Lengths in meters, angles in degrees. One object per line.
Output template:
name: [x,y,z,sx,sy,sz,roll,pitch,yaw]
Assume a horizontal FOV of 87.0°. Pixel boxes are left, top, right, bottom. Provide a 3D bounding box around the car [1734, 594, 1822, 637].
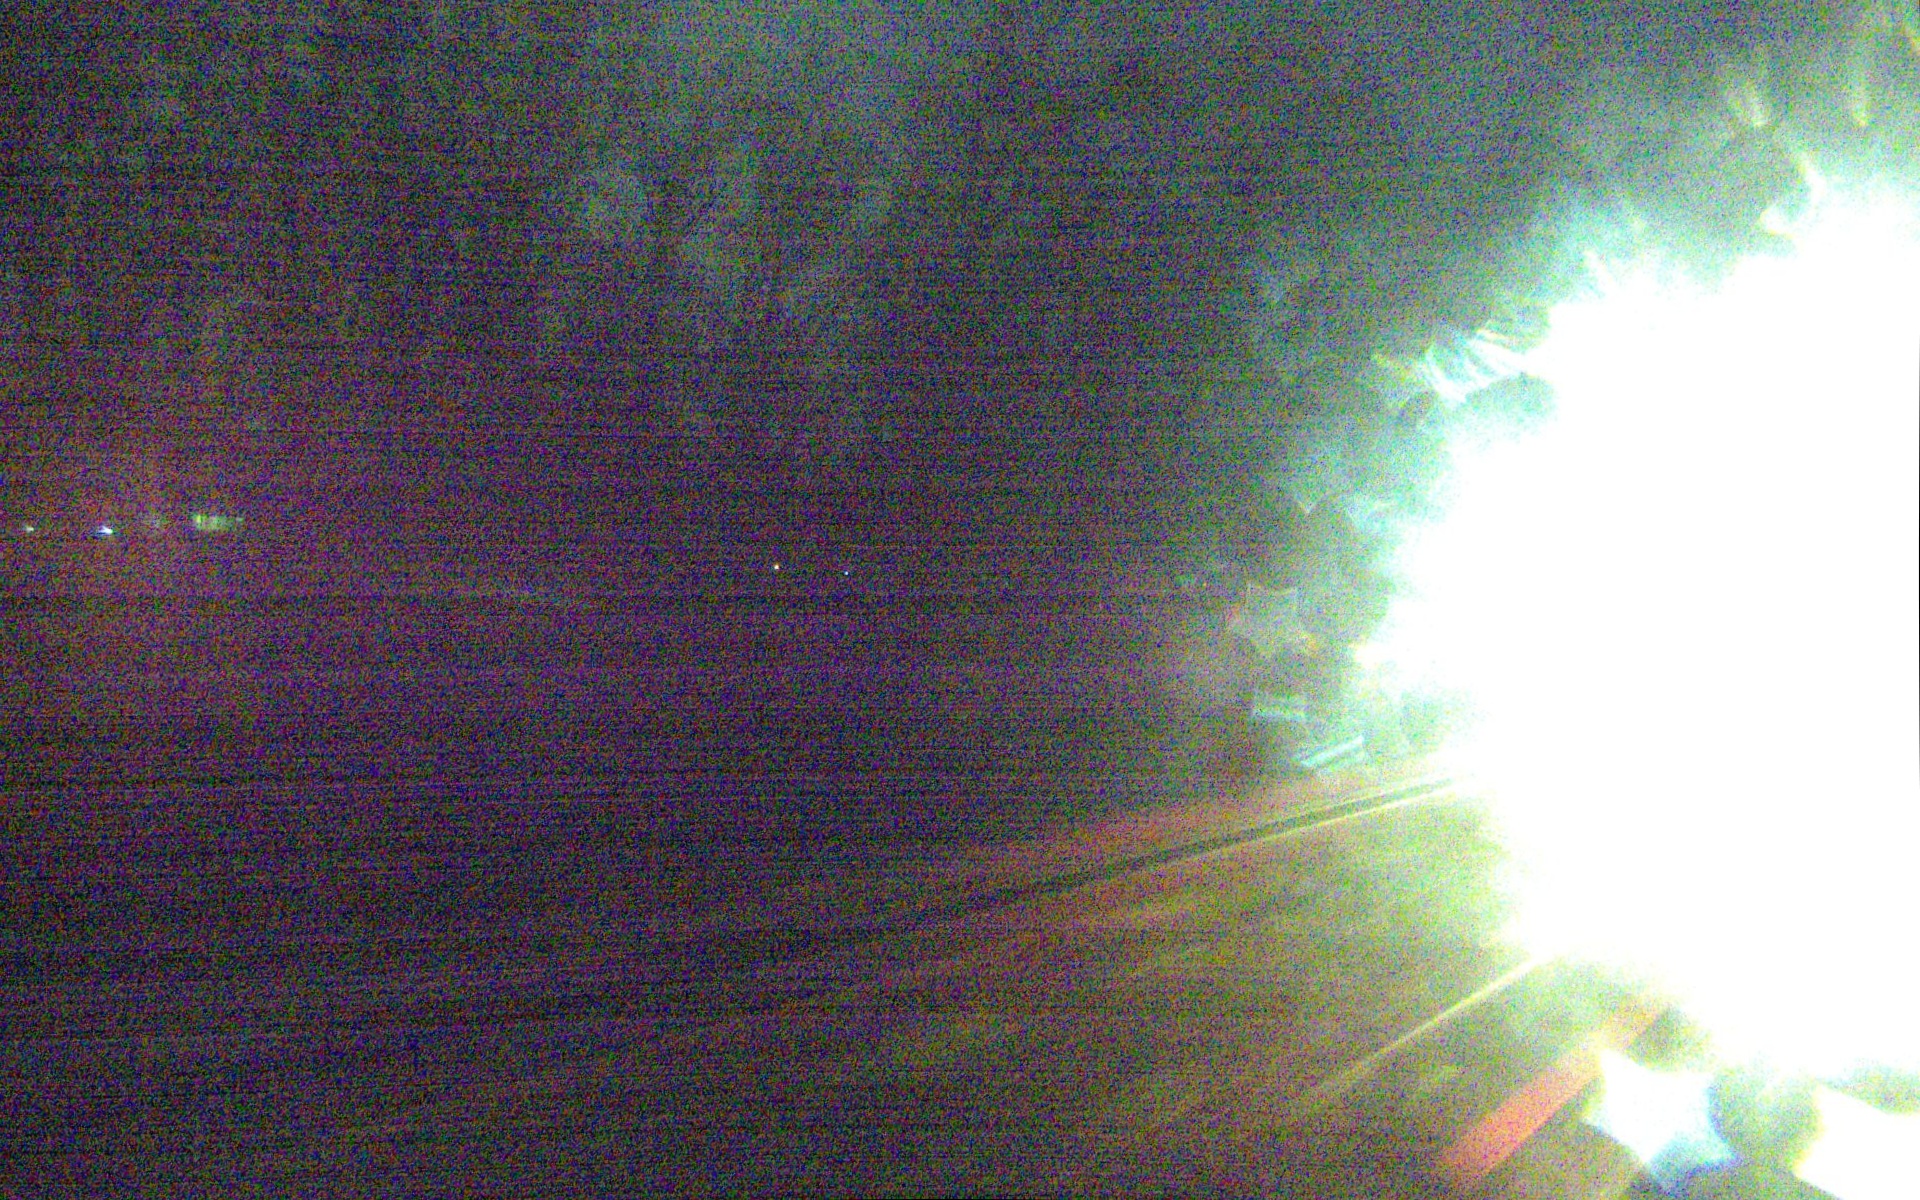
car: [30.471,0.526,37.834,1.833,1.467,3.837,0,1,28]
